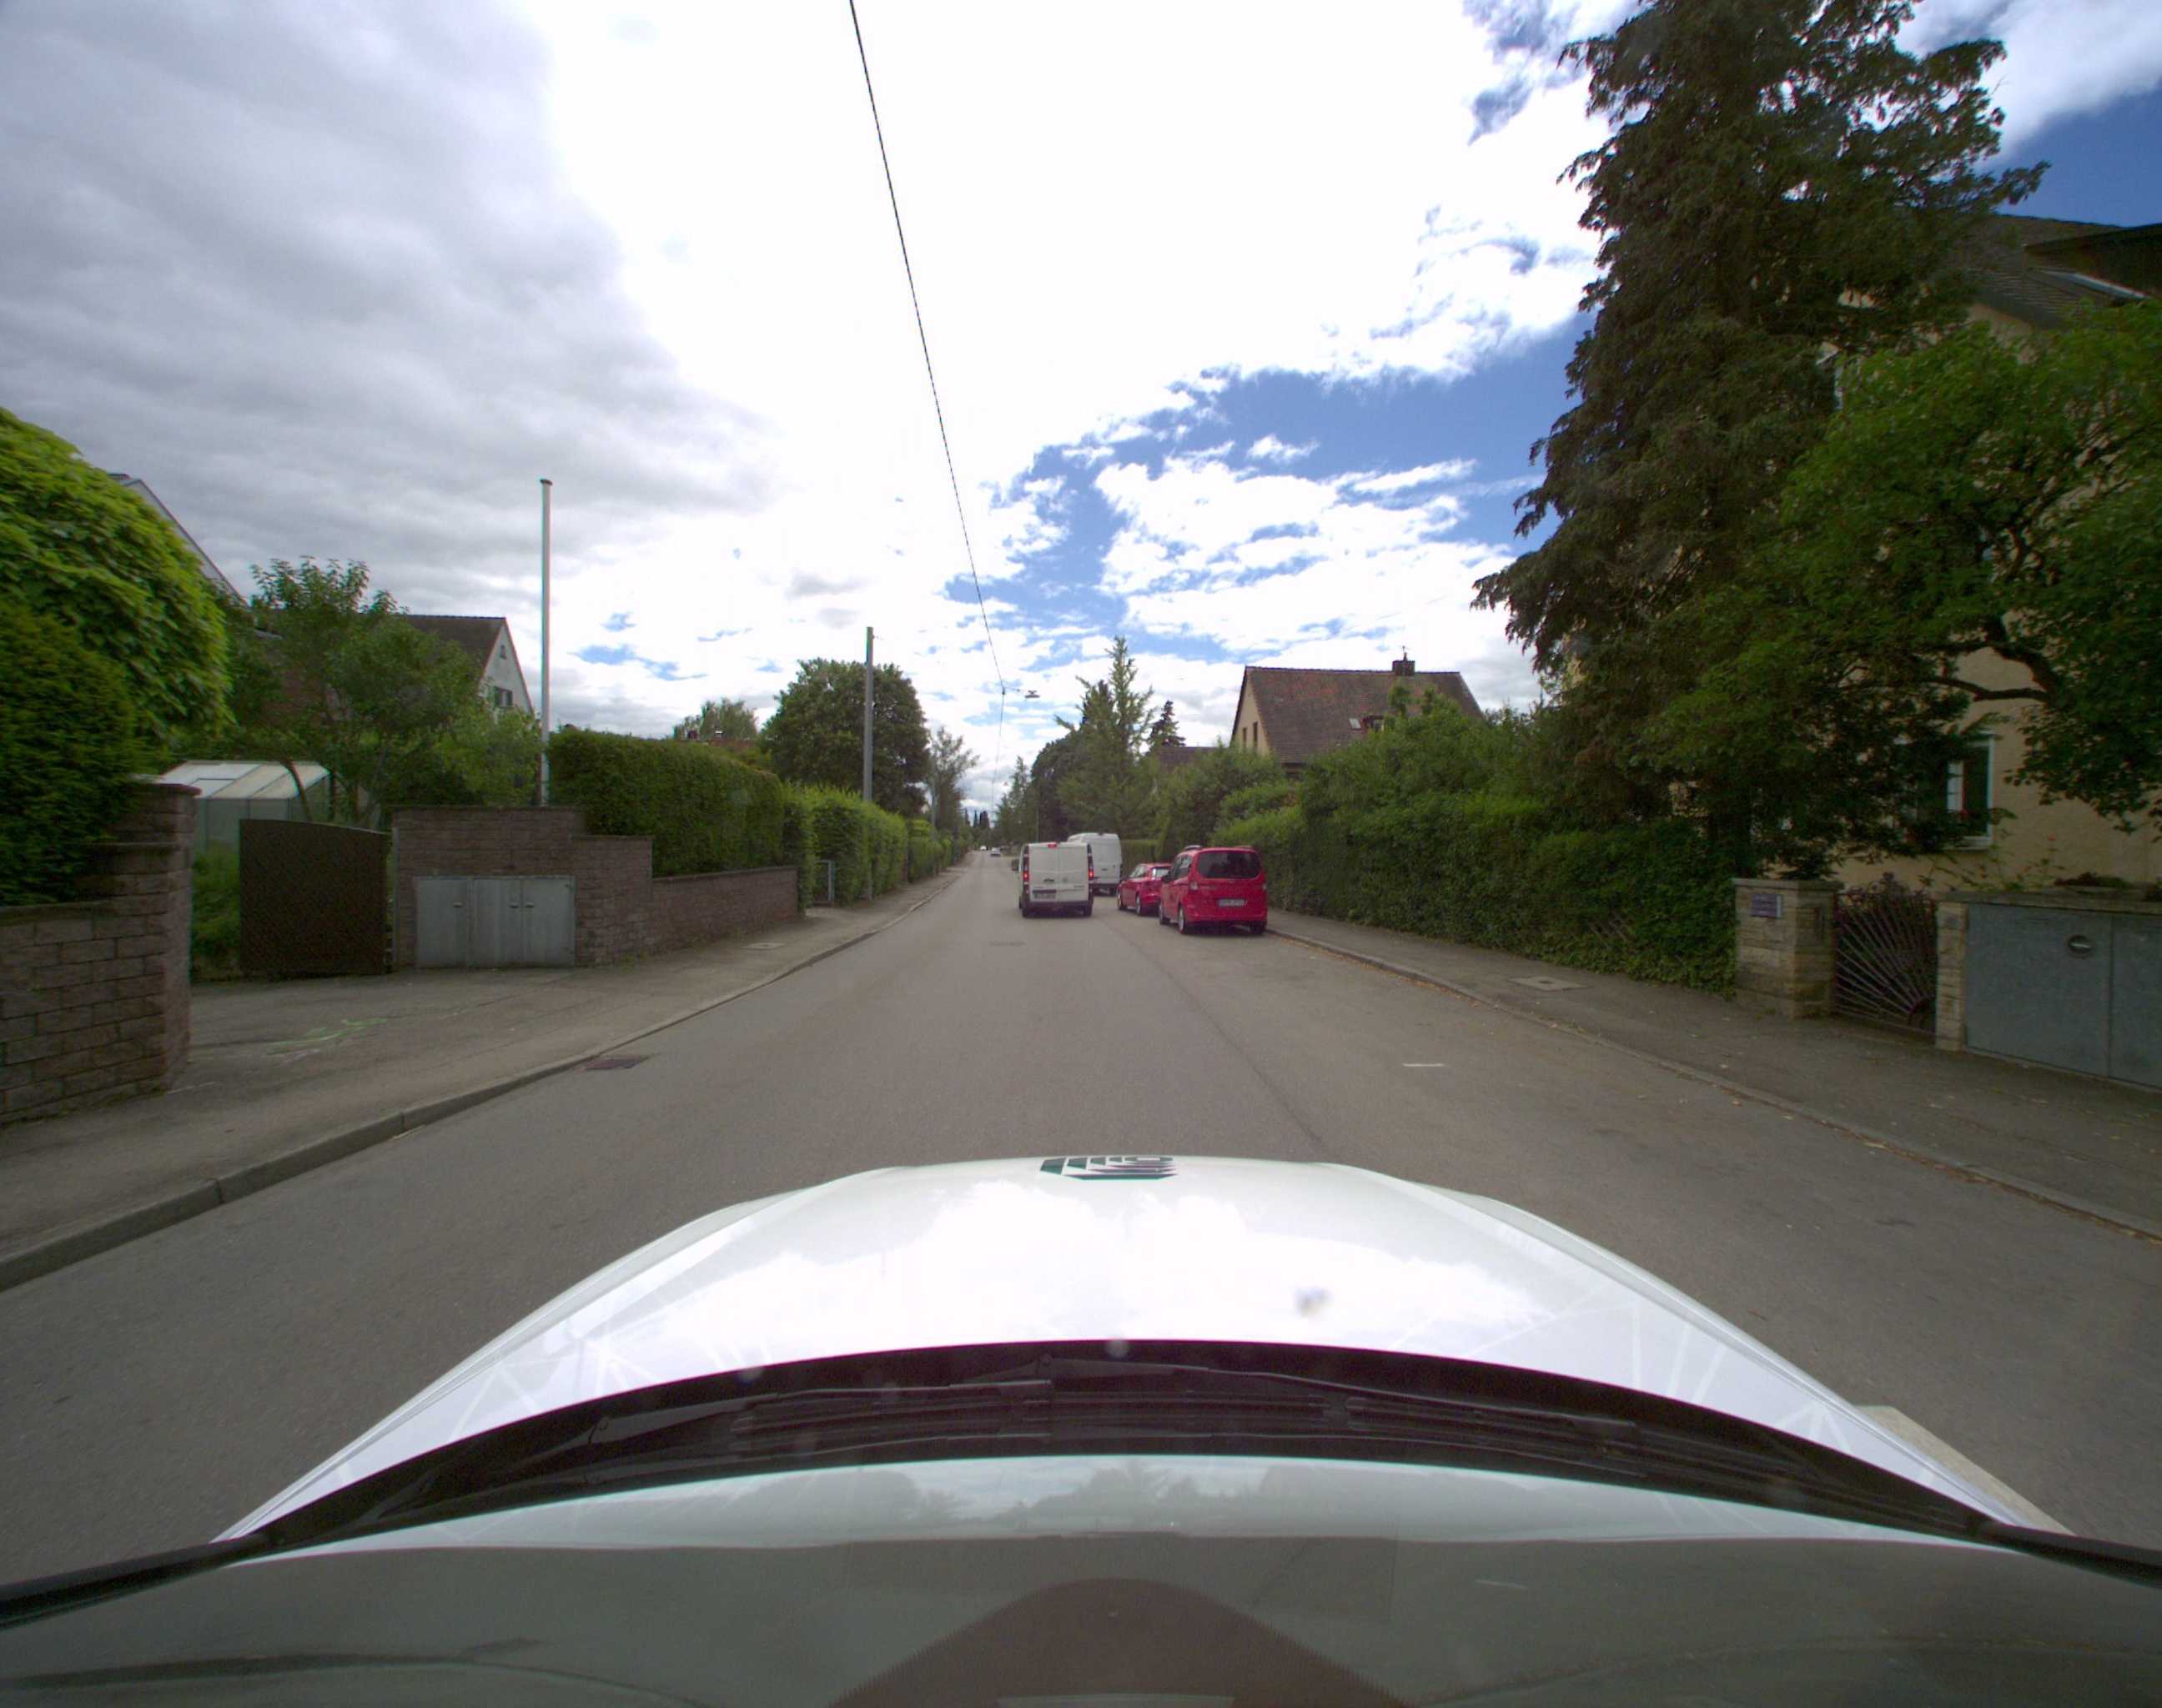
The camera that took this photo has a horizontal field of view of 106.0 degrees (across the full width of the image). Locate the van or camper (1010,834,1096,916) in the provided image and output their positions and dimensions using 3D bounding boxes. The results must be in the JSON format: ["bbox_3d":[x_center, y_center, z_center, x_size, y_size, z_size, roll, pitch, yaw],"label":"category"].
[{"bbox_3d":[-0.908,0.480,22.957,1.923,2.013,4.817,2,1,-8],"label":"van or camper"}]

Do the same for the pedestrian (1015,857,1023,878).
[{"bbox_3d":[-4.846,1.043,63.763,0.555,1.559,0.551,1,1,-10],"label":"pedestrian"}]

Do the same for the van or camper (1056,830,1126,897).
[{"bbox_3d":[0.329,0.424,36.882,2.066,2.675,6.309,2,-1,-9],"label":"van or camper"}]

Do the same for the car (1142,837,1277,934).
[{"bbox_3d":[2.641,0.618,18.001,1.758,1.797,4.939,1,0,-5],"label":"car"}]

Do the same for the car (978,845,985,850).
[{"bbox_3d":[-29.467,-1.899,241.814,1.683,1.475,3.582,1,0,1],"label":"car"}]

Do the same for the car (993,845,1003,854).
[{"bbox_3d":[-16.078,-0.877,158.357,1.775,1.651,3.634,1,1,-8],"label":"car"}]

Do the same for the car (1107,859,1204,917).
[{"bbox_3d":[2.005,0.898,23.170,1.712,1.467,4.254,1,0,-9],"label":"car"}]
